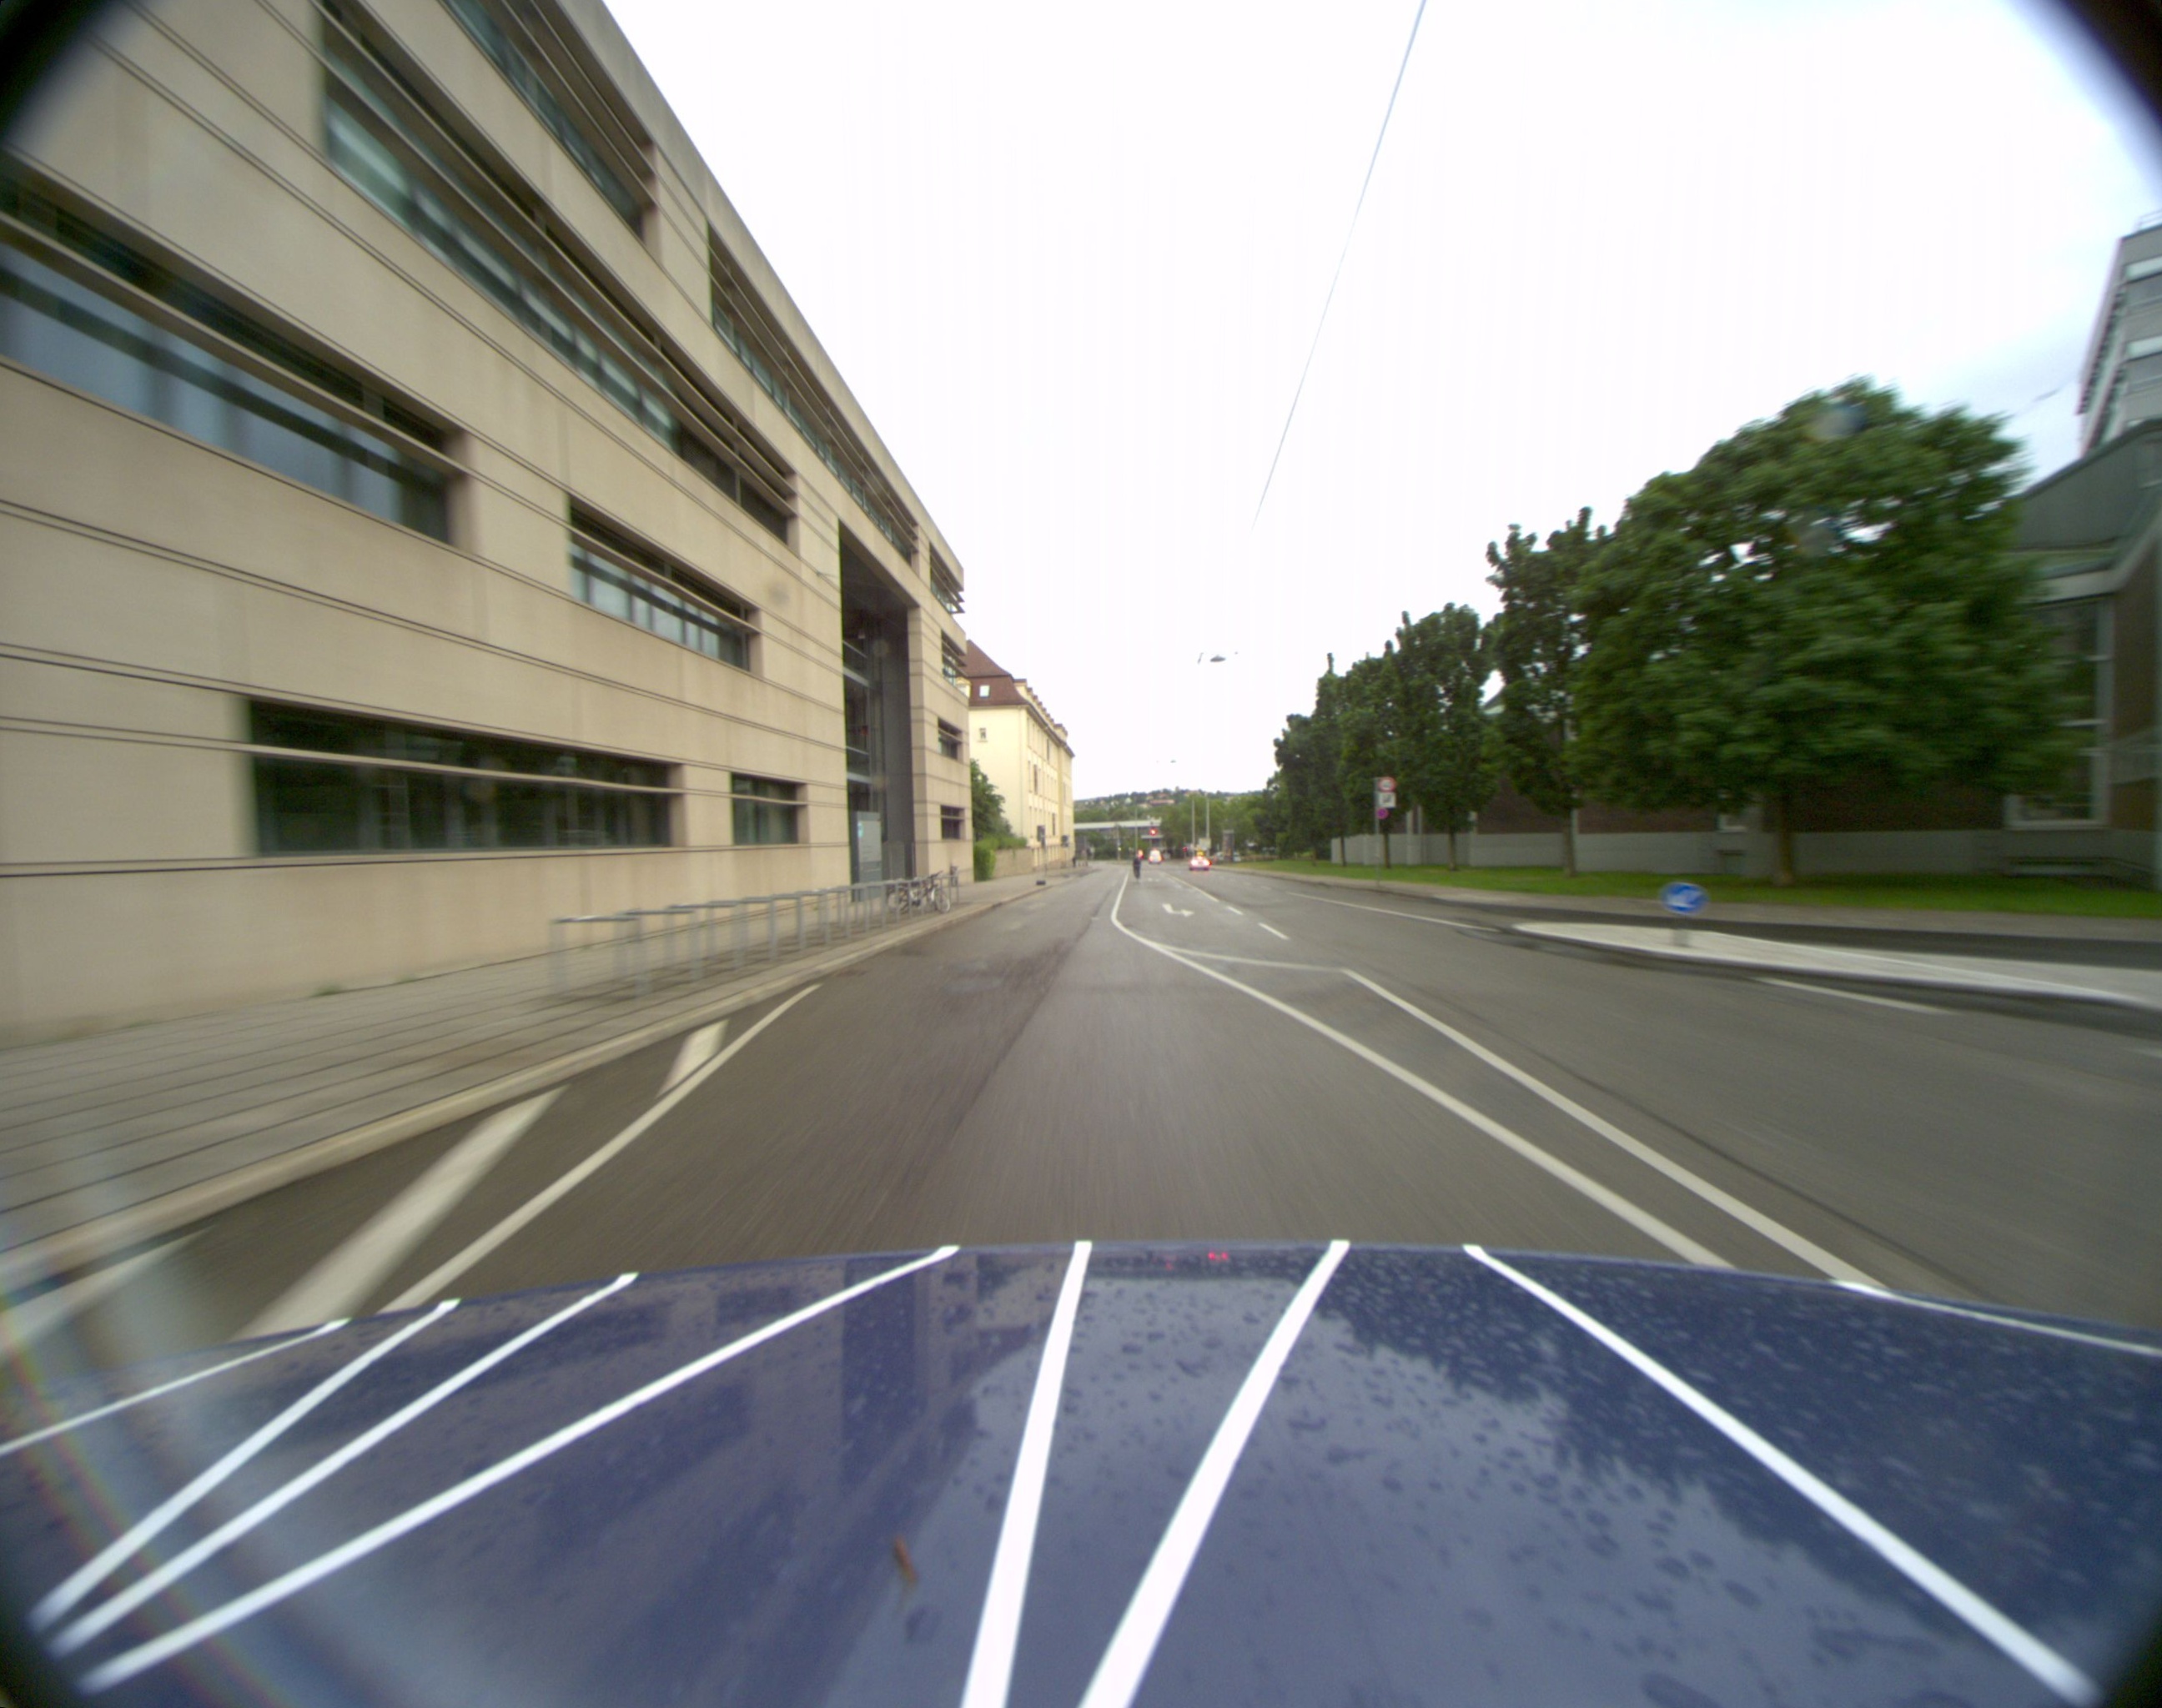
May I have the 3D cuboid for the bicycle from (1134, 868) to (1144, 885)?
[{"bbox_3d":[3.398,1.299,44.534,0.448,0.957,1.691,-2,-1,6],"label":"bicycle"}]

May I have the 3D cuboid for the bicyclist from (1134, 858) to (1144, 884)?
[{"bbox_3d":[3.409,0.982,44.395,0.485,1.425,0.930,-3,1,6],"label":"bicyclist"}]

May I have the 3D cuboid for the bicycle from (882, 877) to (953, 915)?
[{"bbox_3d":[-4.507,1.147,21.029,1.763,0.947,0.660,-2,1,1],"label":"bicycle"}]

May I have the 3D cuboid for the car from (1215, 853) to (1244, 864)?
[{"bbox_3d":[23.430,0.742,119.816,1.871,1.600,4.516,-3,0,-30],"label":"car"}]

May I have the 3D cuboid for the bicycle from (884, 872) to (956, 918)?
[{"bbox_3d":[-4.225,1.073,20.026,1.734,1.112,0.659,-2,1,-1],"label":"bicycle"}]

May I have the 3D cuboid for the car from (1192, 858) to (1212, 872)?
[{"bbox_3d":[13.085,1.202,82.464,1.885,1.482,5.222,0,0,6],"label":"car"}]

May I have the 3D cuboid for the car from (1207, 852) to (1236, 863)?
[{"bbox_3d":[25.268,0.696,136.575,2.020,1.745,4.711,-3,1,-44],"label":"car"}]

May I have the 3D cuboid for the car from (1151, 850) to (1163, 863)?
[{"bbox_3d":[15.109,0.532,150.725,1.987,2.514,5.633,-1,0,2],"label":"car"}]

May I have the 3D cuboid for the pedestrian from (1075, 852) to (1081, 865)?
[{"bbox_3d":[-0.426,0.600,106.025,0.671,1.787,0.852,-1,1,5],"label":"pedestrian"}]

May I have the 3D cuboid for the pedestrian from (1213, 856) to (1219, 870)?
[{"bbox_3d":[16.975,1.130,95.413,0.671,1.677,0.914,-3,1,11],"label":"pedestrian"}]
